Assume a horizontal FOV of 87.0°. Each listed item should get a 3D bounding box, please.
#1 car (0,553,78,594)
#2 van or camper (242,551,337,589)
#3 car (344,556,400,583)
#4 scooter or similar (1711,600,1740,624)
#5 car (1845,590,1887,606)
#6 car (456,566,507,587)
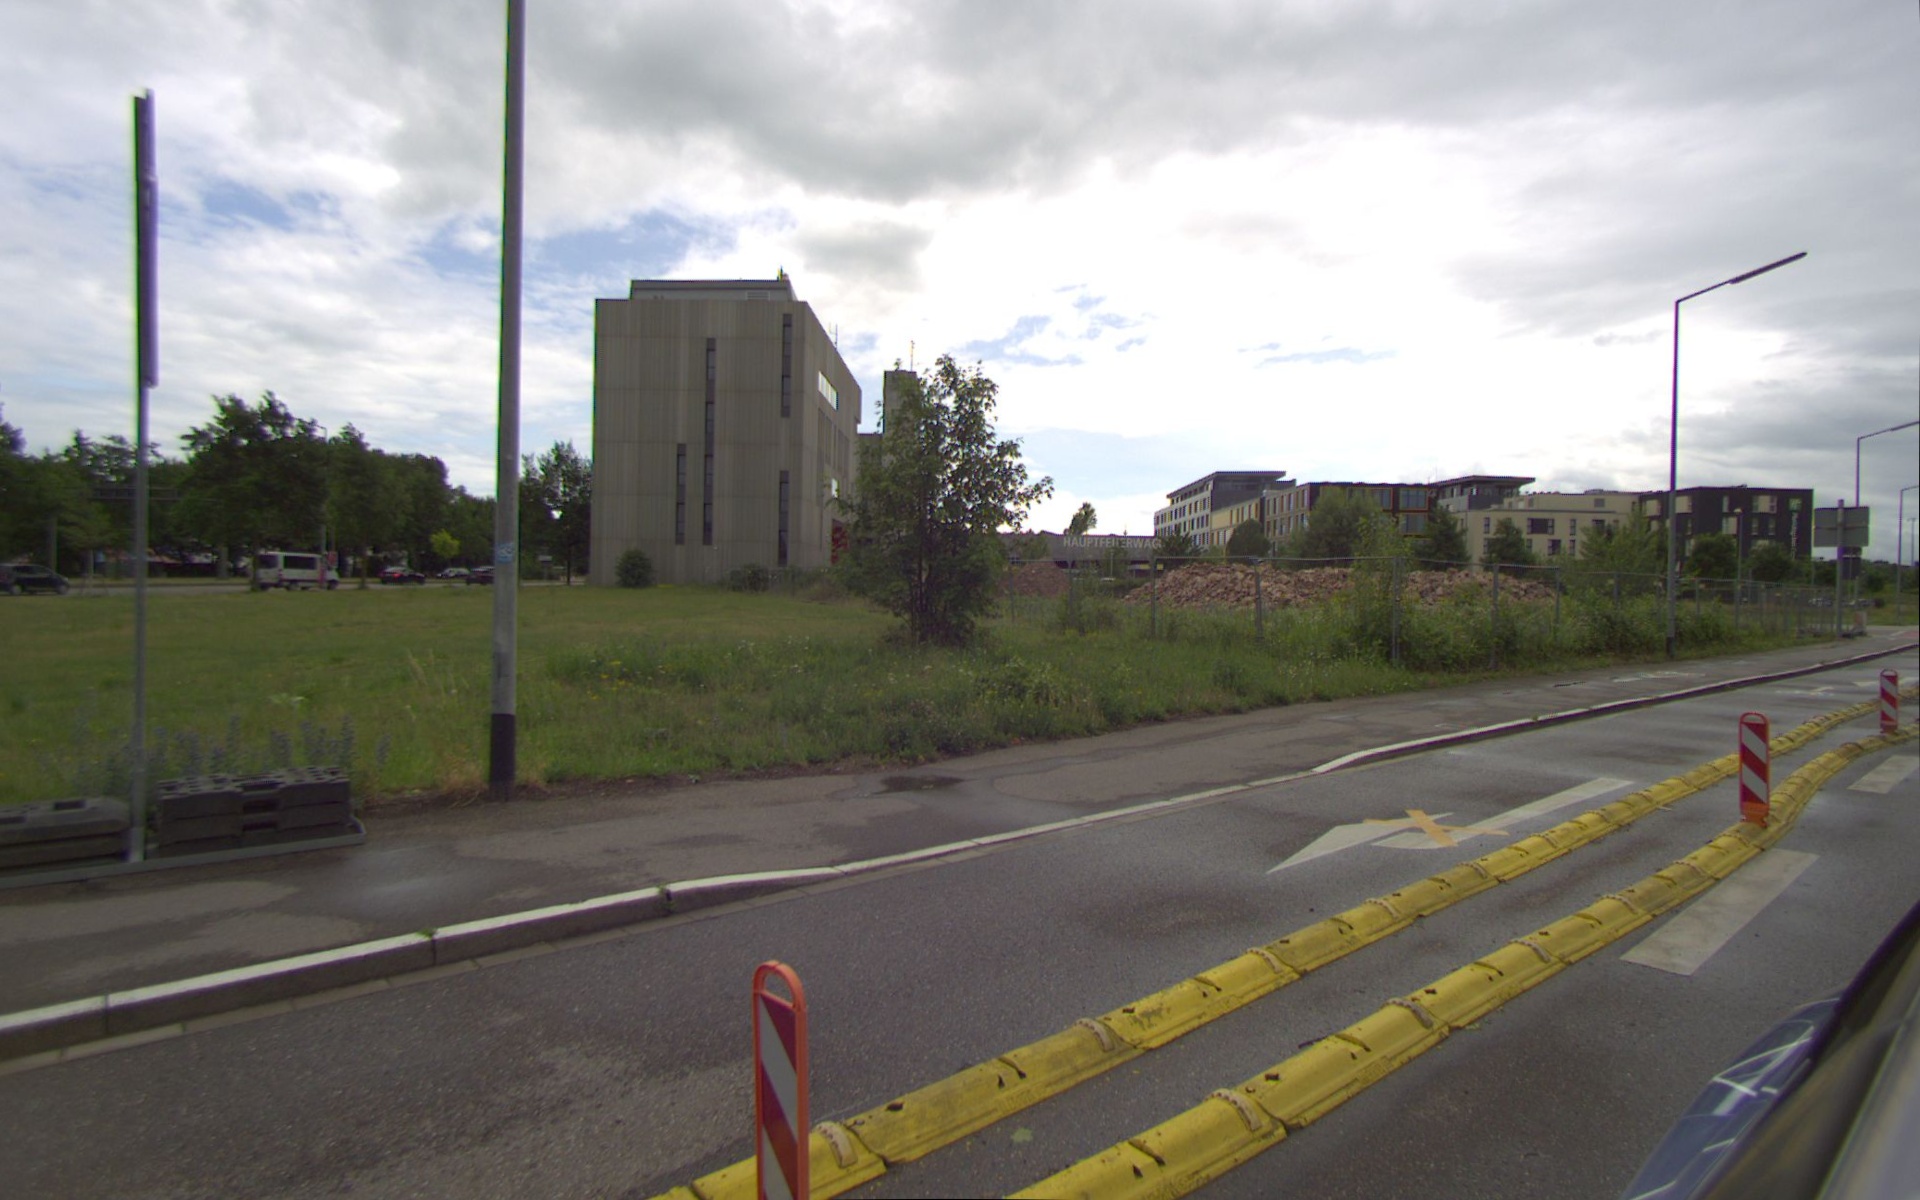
[{"bbox_3d":[-44.159,-1.249,47.492,1.964,1.872,3.997,1,1,3],"label":"car"},{"bbox_3d":[-40.590,-1.790,61.451,1.963,2.142,5.551,1,1,1],"label":"van or camper"},{"bbox_3d":[-46.070,-2.353,79.363,1.963,2.039,3.998,1,1,2],"label":"car"},{"bbox_3d":[39.351,0.610,52.058,0.437,1.200,1.327,1,1,0],"label":"scooter or similar"},{"bbox_3d":[126.153,-0.252,140.894,3.925,2.039,2.000,1,1,1],"label":"car"},{"bbox_3d":[-42.781,-2.101,90.639,2.079,1.817,4.601,1,1,6],"label":"car"}]
